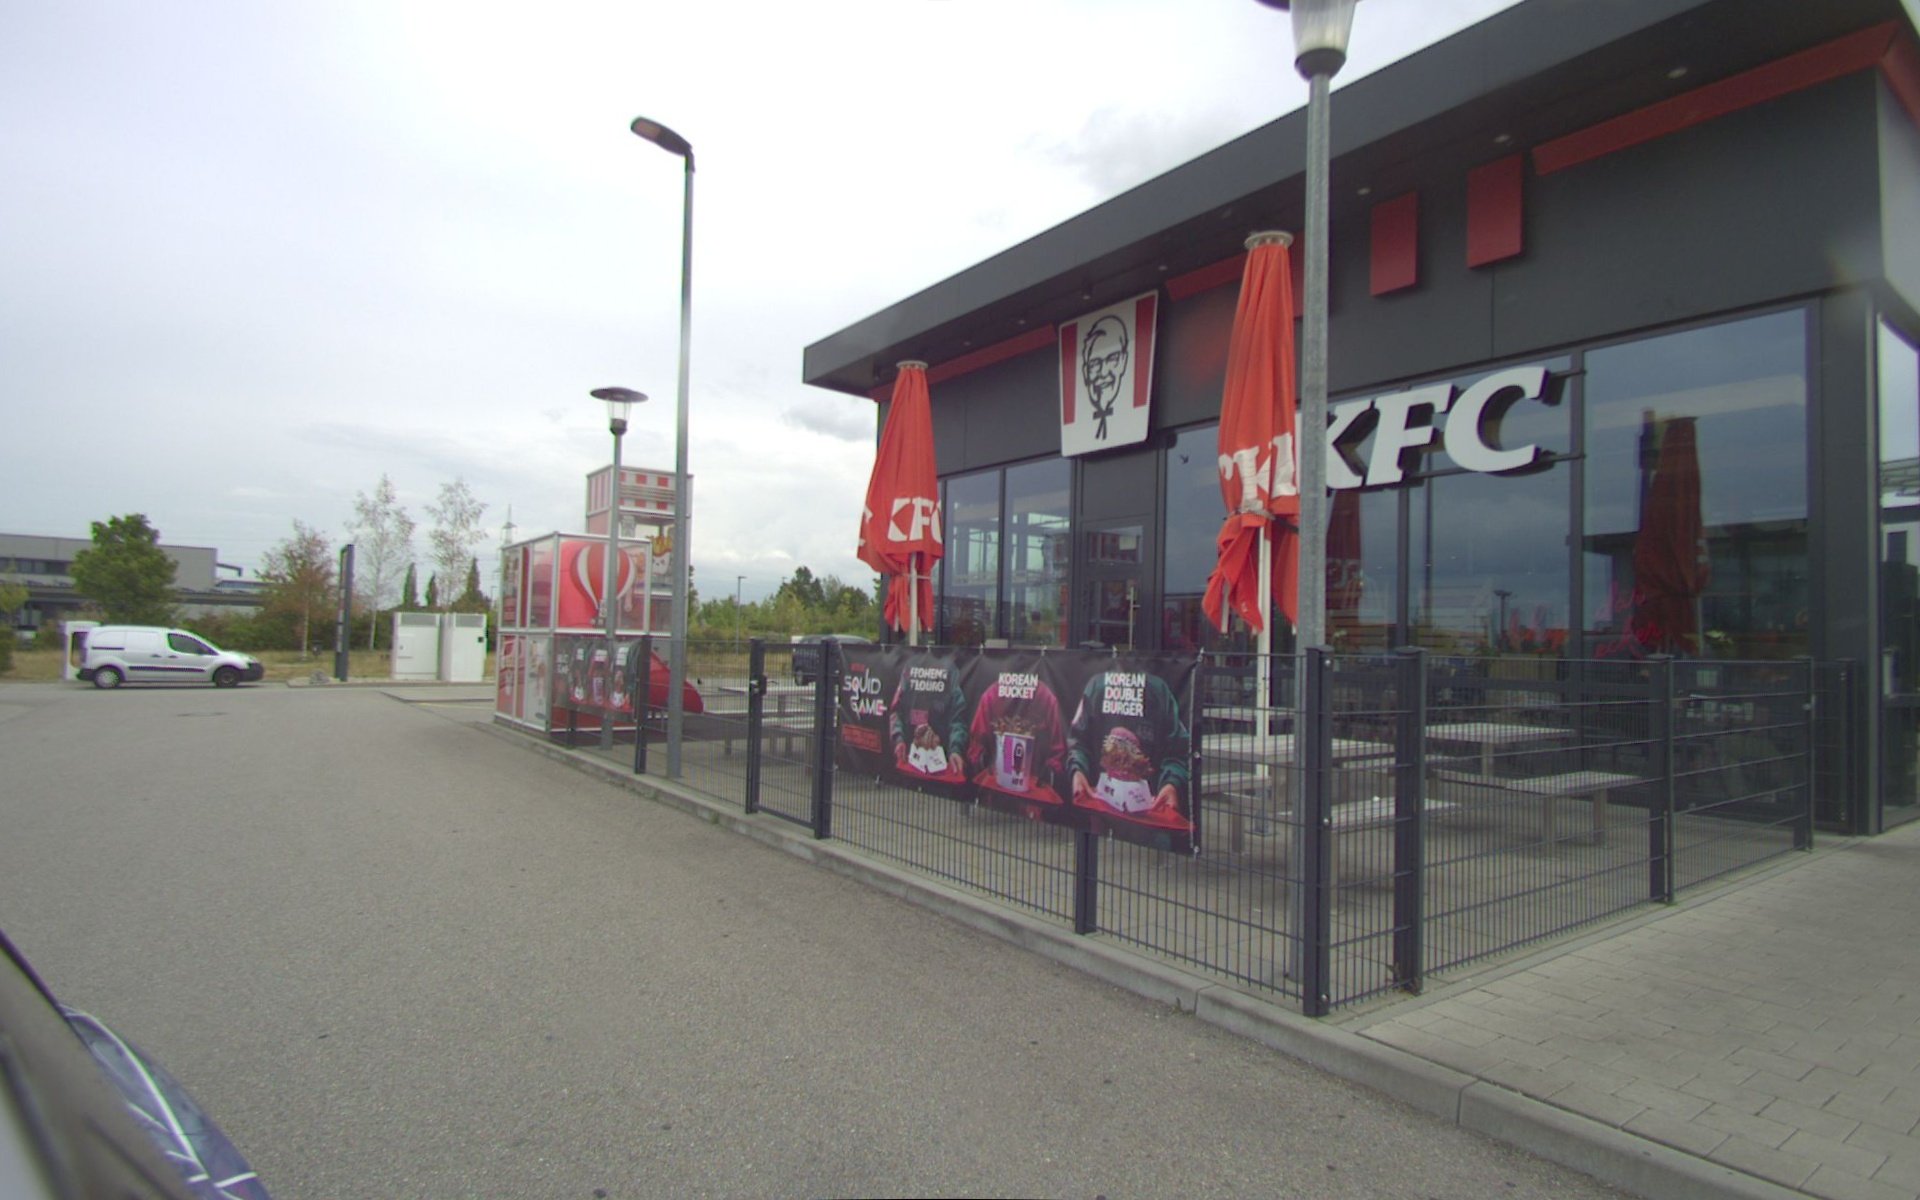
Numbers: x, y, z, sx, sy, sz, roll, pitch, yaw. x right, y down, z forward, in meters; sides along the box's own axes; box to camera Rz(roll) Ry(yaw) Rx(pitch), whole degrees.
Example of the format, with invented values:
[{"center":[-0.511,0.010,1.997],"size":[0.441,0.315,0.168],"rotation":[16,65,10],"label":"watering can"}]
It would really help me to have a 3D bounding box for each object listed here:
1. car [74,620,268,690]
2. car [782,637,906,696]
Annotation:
[{"center":[-22.925,1.666,29.603],"size":[4.266,1.903,1.950],"rotation":[4,-5,-37],"label":"car"},{"center":[-3.504,1.934,29.994],"size":[1.559,1.629,4.495],"rotation":[4,-4,-37],"label":"car"}]
